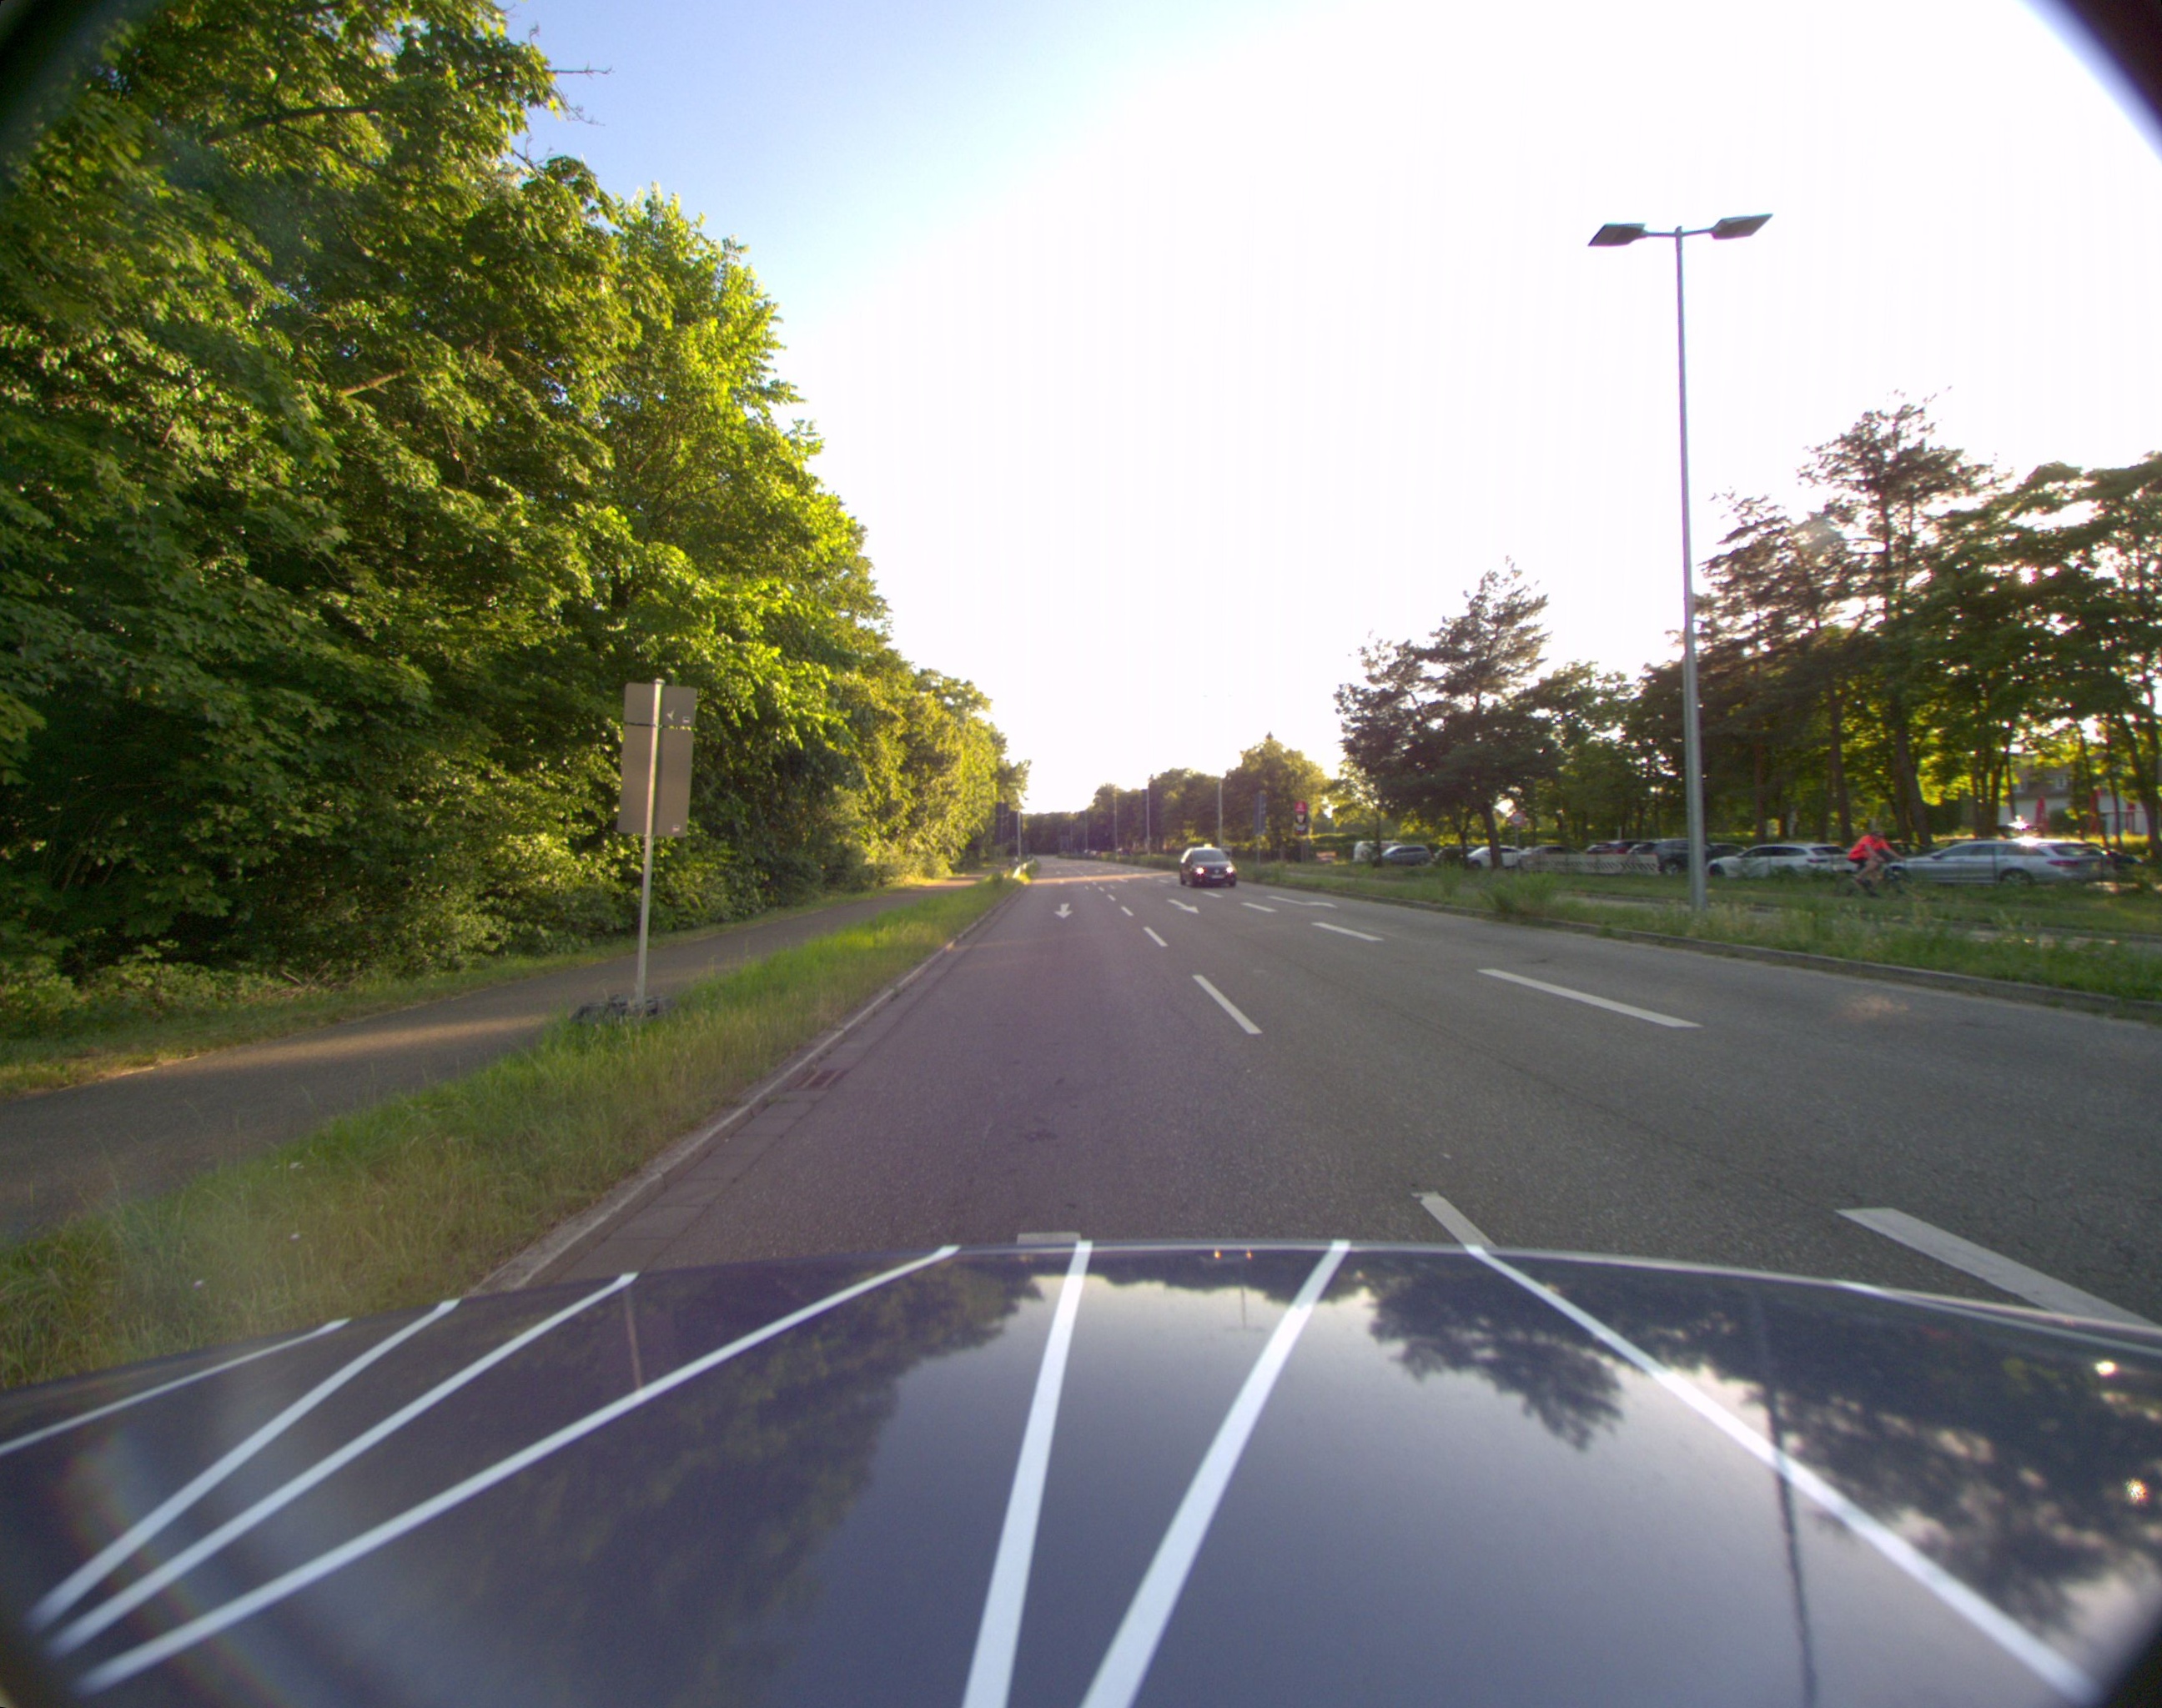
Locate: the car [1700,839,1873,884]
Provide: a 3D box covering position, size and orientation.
[{"bbox_3d":[26.421,0.251,28.730,1.999,1.539,4.708,-1,1,-4],"label":"car"}]

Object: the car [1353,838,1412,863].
[{"bbox_3d":[24.206,-0.259,61.062,3.998,1.933,1.766,-1,1,-2],"label":"car"}]

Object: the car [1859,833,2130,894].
[{"bbox_3d":[26.776,0.241,22.621,1.999,1.597,4.920,-1,1,-4],"label":"car"}]

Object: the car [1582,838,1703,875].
[{"bbox_3d":[26.370,0.105,35.766,4.525,1.608,1.771,-1,1,-3],"label":"car"}]

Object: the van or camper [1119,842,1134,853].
[{"bbox_3d":[8.533,-1.206,142.886,1.999,2.002,4.575,-1,1,-5],"label":"van or camper"}]

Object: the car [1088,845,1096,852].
[{"bbox_3d":[2.752,-1.390,194.912,1.760,1.532,3.998,-3,1,-2],"label":"car"}]

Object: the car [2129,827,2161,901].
[{"bbox_3d":[27.107,0.253,16.413,1.999,1.776,4.920,-1,1,-4],"label":"car"}]

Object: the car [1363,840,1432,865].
[{"bbox_3d":[24.155,-0.106,58.023,4.498,1.787,1.909,-1,1,-2],"label":"car"}]

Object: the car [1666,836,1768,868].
[{"bbox_3d":[34.080,-0.127,40.795,3.997,1.641,1.766,-1,1,-1],"label":"car"}]

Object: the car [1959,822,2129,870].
[{"bbox_3d":[34.981,-0.293,27.684,3.997,1.641,1.766,-1,1,-1],"label":"car"}]

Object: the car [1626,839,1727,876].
[{"bbox_3d":[25.619,0.128,32.747,3.099,1.518,1.659,-1,1,-2],"label":"car"}]

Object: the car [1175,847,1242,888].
[{"bbox_3d":[5.155,0.505,31.185,1.999,1.543,3.999,-1,0,-1],"label":"car"}]

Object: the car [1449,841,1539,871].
[{"bbox_3d":[25.169,0.123,46.400,4.497,1.743,1.909,-1,1,-1],"label":"car"}]

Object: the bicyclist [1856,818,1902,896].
[{"bbox_3d":[19.482,0.072,18.547,0.459,1.863,0.618,-1,1,-5],"label":"bicyclist"}]

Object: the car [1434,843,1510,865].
[{"bbox_3d":[25.038,-0.007,48.766,3.997,1.304,1.732,-1,1,-1],"label":"car"}]

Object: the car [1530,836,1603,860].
[{"bbox_3d":[34.121,-0.409,53.476,3.997,1.641,1.766,-1,1,-1],"label":"car"}]

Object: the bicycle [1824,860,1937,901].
[{"bbox_3d":[19.477,0.619,18.585,0.493,0.928,2.043,-1,1,-5],"label":"bicycle"}]

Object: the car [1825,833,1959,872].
[{"bbox_3d":[35.420,-0.079,33.240,3.997,1.641,1.766,-1,1,-1],"label":"car"}]

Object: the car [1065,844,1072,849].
[{"bbox_3d":[-4.021,-2.472,245.070,1.760,1.532,3.998,-3,1,-4],"label":"car"}]
